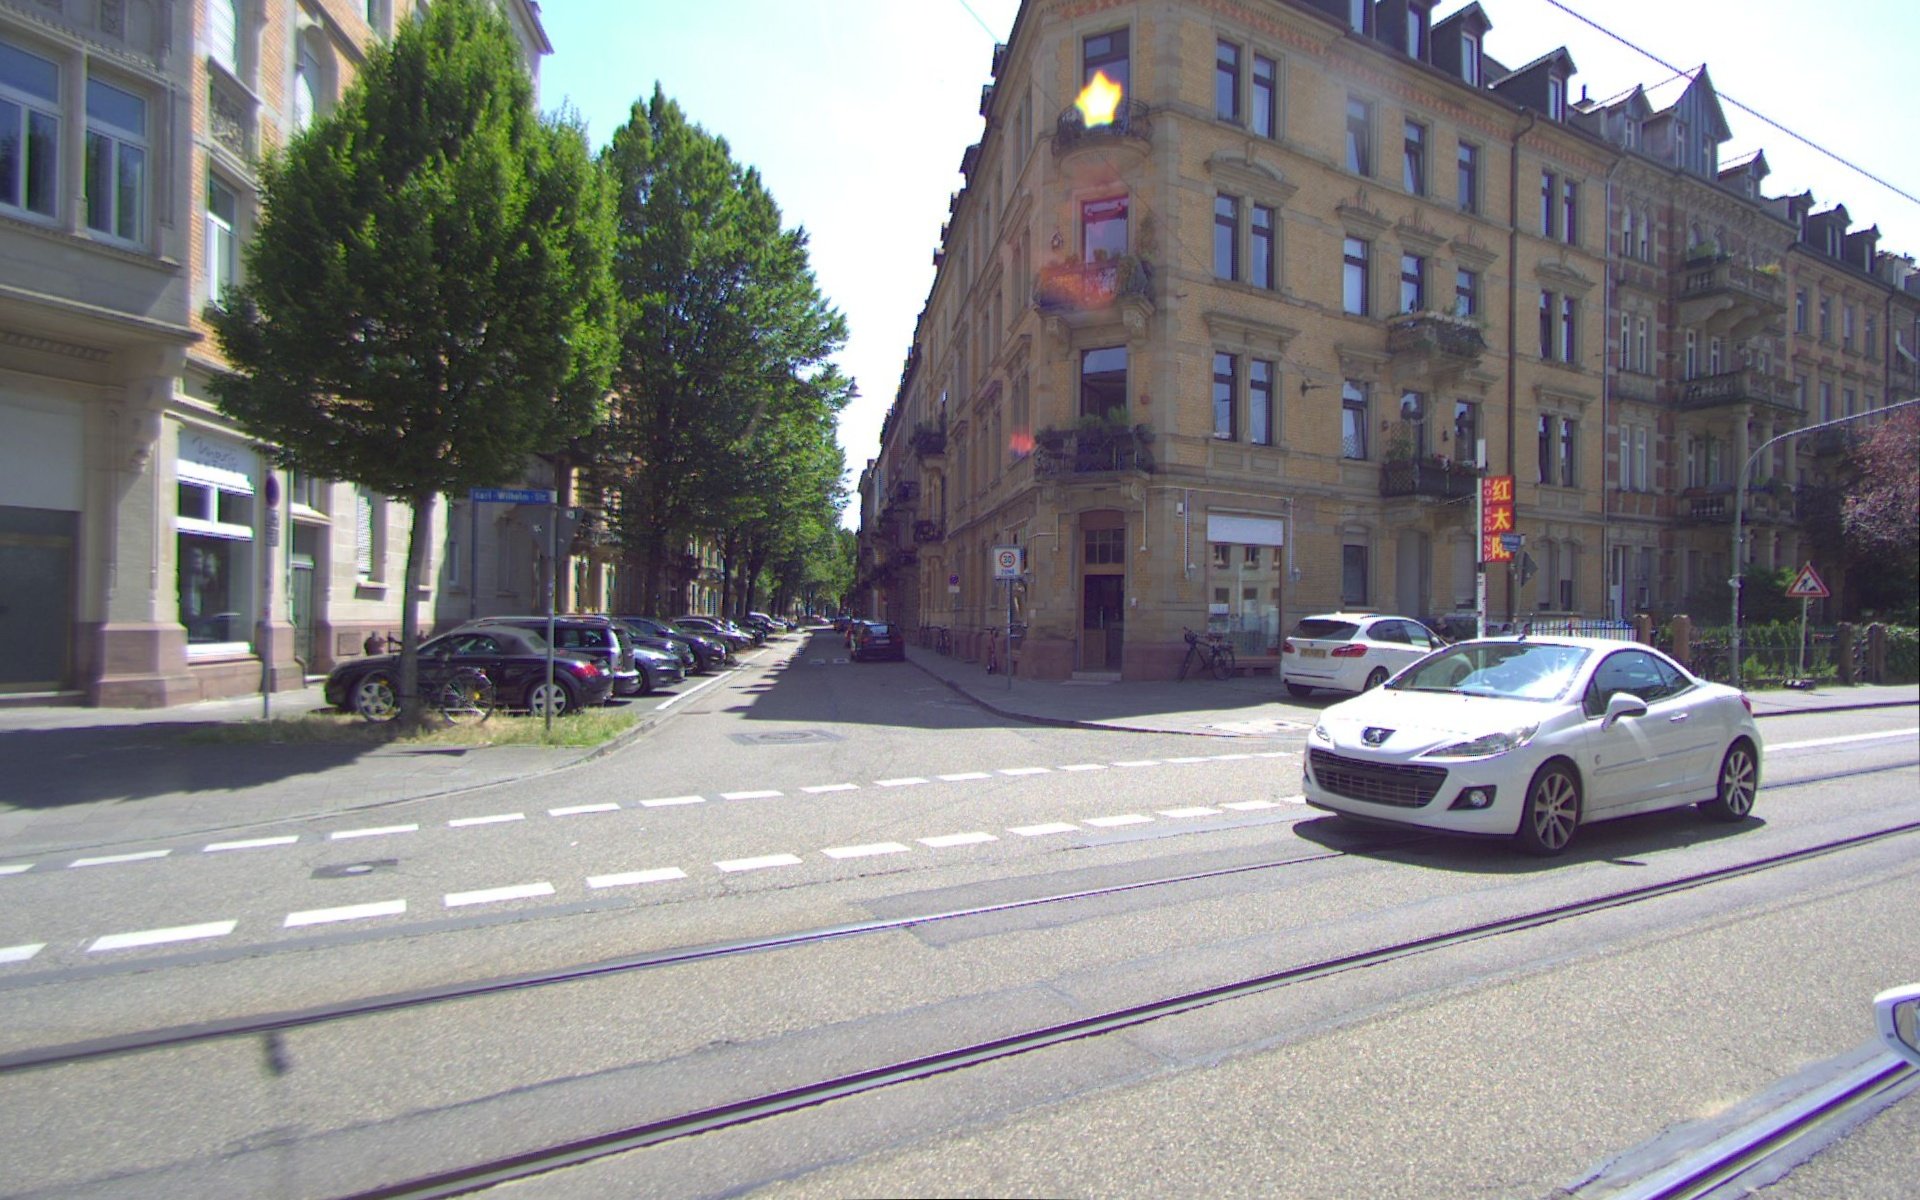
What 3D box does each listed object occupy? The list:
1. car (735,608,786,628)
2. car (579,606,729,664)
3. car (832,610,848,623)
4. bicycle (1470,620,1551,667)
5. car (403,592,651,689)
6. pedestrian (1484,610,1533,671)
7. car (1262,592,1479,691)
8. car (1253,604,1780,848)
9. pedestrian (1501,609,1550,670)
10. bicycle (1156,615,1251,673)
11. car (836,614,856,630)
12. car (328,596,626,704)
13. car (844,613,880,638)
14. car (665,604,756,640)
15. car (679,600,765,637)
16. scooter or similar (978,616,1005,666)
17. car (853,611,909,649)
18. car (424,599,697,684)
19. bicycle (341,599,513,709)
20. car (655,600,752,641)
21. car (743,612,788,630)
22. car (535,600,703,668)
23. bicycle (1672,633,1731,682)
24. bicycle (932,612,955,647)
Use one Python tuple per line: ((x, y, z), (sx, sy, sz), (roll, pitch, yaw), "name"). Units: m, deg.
((-16.070, 1.475, 81.143), (3.927, 1.578, 1.997), (1, -1, -9), "car")
((-8.392, 0.946, 27.779), (3.705, 1.356, 1.628), (4, -1, -10), "car")
((-14.131, 1.952, 118.490), (1.734, 1.382, 3.994), (1, 0, -9), "car")
((12.940, 1.012, 23.663), (0.467, 1.017, 1.699), (1, 0, -26), "bicycle")
((-7.621, 0.711, 17.986), (3.705, 1.458, 1.628), (4, -1, -10), "car")
((11.978, 0.876, 21.937), (0.704, 1.315, 0.705), (1, -1, -34), "pedestrian")
((7.748, 0.743, 18.852), (4.061, 1.621, 1.853), (2, 1, -35), "car")
((4.331, 0.804, 7.714), (3.952, 1.443, 1.748), (2, -1, -30), "car")
((12.586, 0.873, 22.368), (0.704, 1.315, 0.705), (1, -1, -34), "pedestrian")
((5.369, 0.967, 22.113), (2.116, 1.203, 0.636), (1, 0, -27), "bicycle")
((-10.686, 2.037, 94.115), (1.734, 1.382, 3.994), (1, 0, -9), "car")
((-7.207, 0.742, 15.325), (3.705, 1.356, 1.628), (4, -1, -10), "car")
((-5.394, 1.370, 54.827), (1.734, 1.282, 3.994), (1, 0, -9), "car")
((-11.657, 1.016, 47.139), (3.927, 1.578, 1.997), (1, 0, -9), "car")
((-11.754, 0.902, 49.902), (3.928, 1.578, 1.997), (4, -1, -9), "car")
((0.849, 1.077, 26.823), (0.486, 1.290, 1.283), (1, -1, 12), "scooter or similar")
((-2.968, 1.069, 37.066), (1.734, 1.282, 3.994), (1, 0, -9), "car")
((-7.845, 0.819, 20.157), (4.739, 1.383, 1.743), (4, -1, -10), "car")
((-6.681, 0.670, 12.638), (1.814, 1.244, 0.502), (3, 0, -2), "bicycle")
((-11.436, 0.918, 44.964), (3.928, 1.578, 1.997), (4, -1, -9), "car")
((-17.671, 1.935, 91.538), (3.927, 1.578, 1.997), (1, -1, -9), "car")
((-8.504, 0.849, 25.296), (3.705, 1.461, 1.628), (4, -1, -10), "car")
((16.253, 1.240, 21.998), (1.787, 1.017, 0.451), (2, 0, -34), "bicycle")
((-0.643, 1.082, 37.861), (0.628, 1.244, 2.064), (1, 0, -7), "bicycle")
